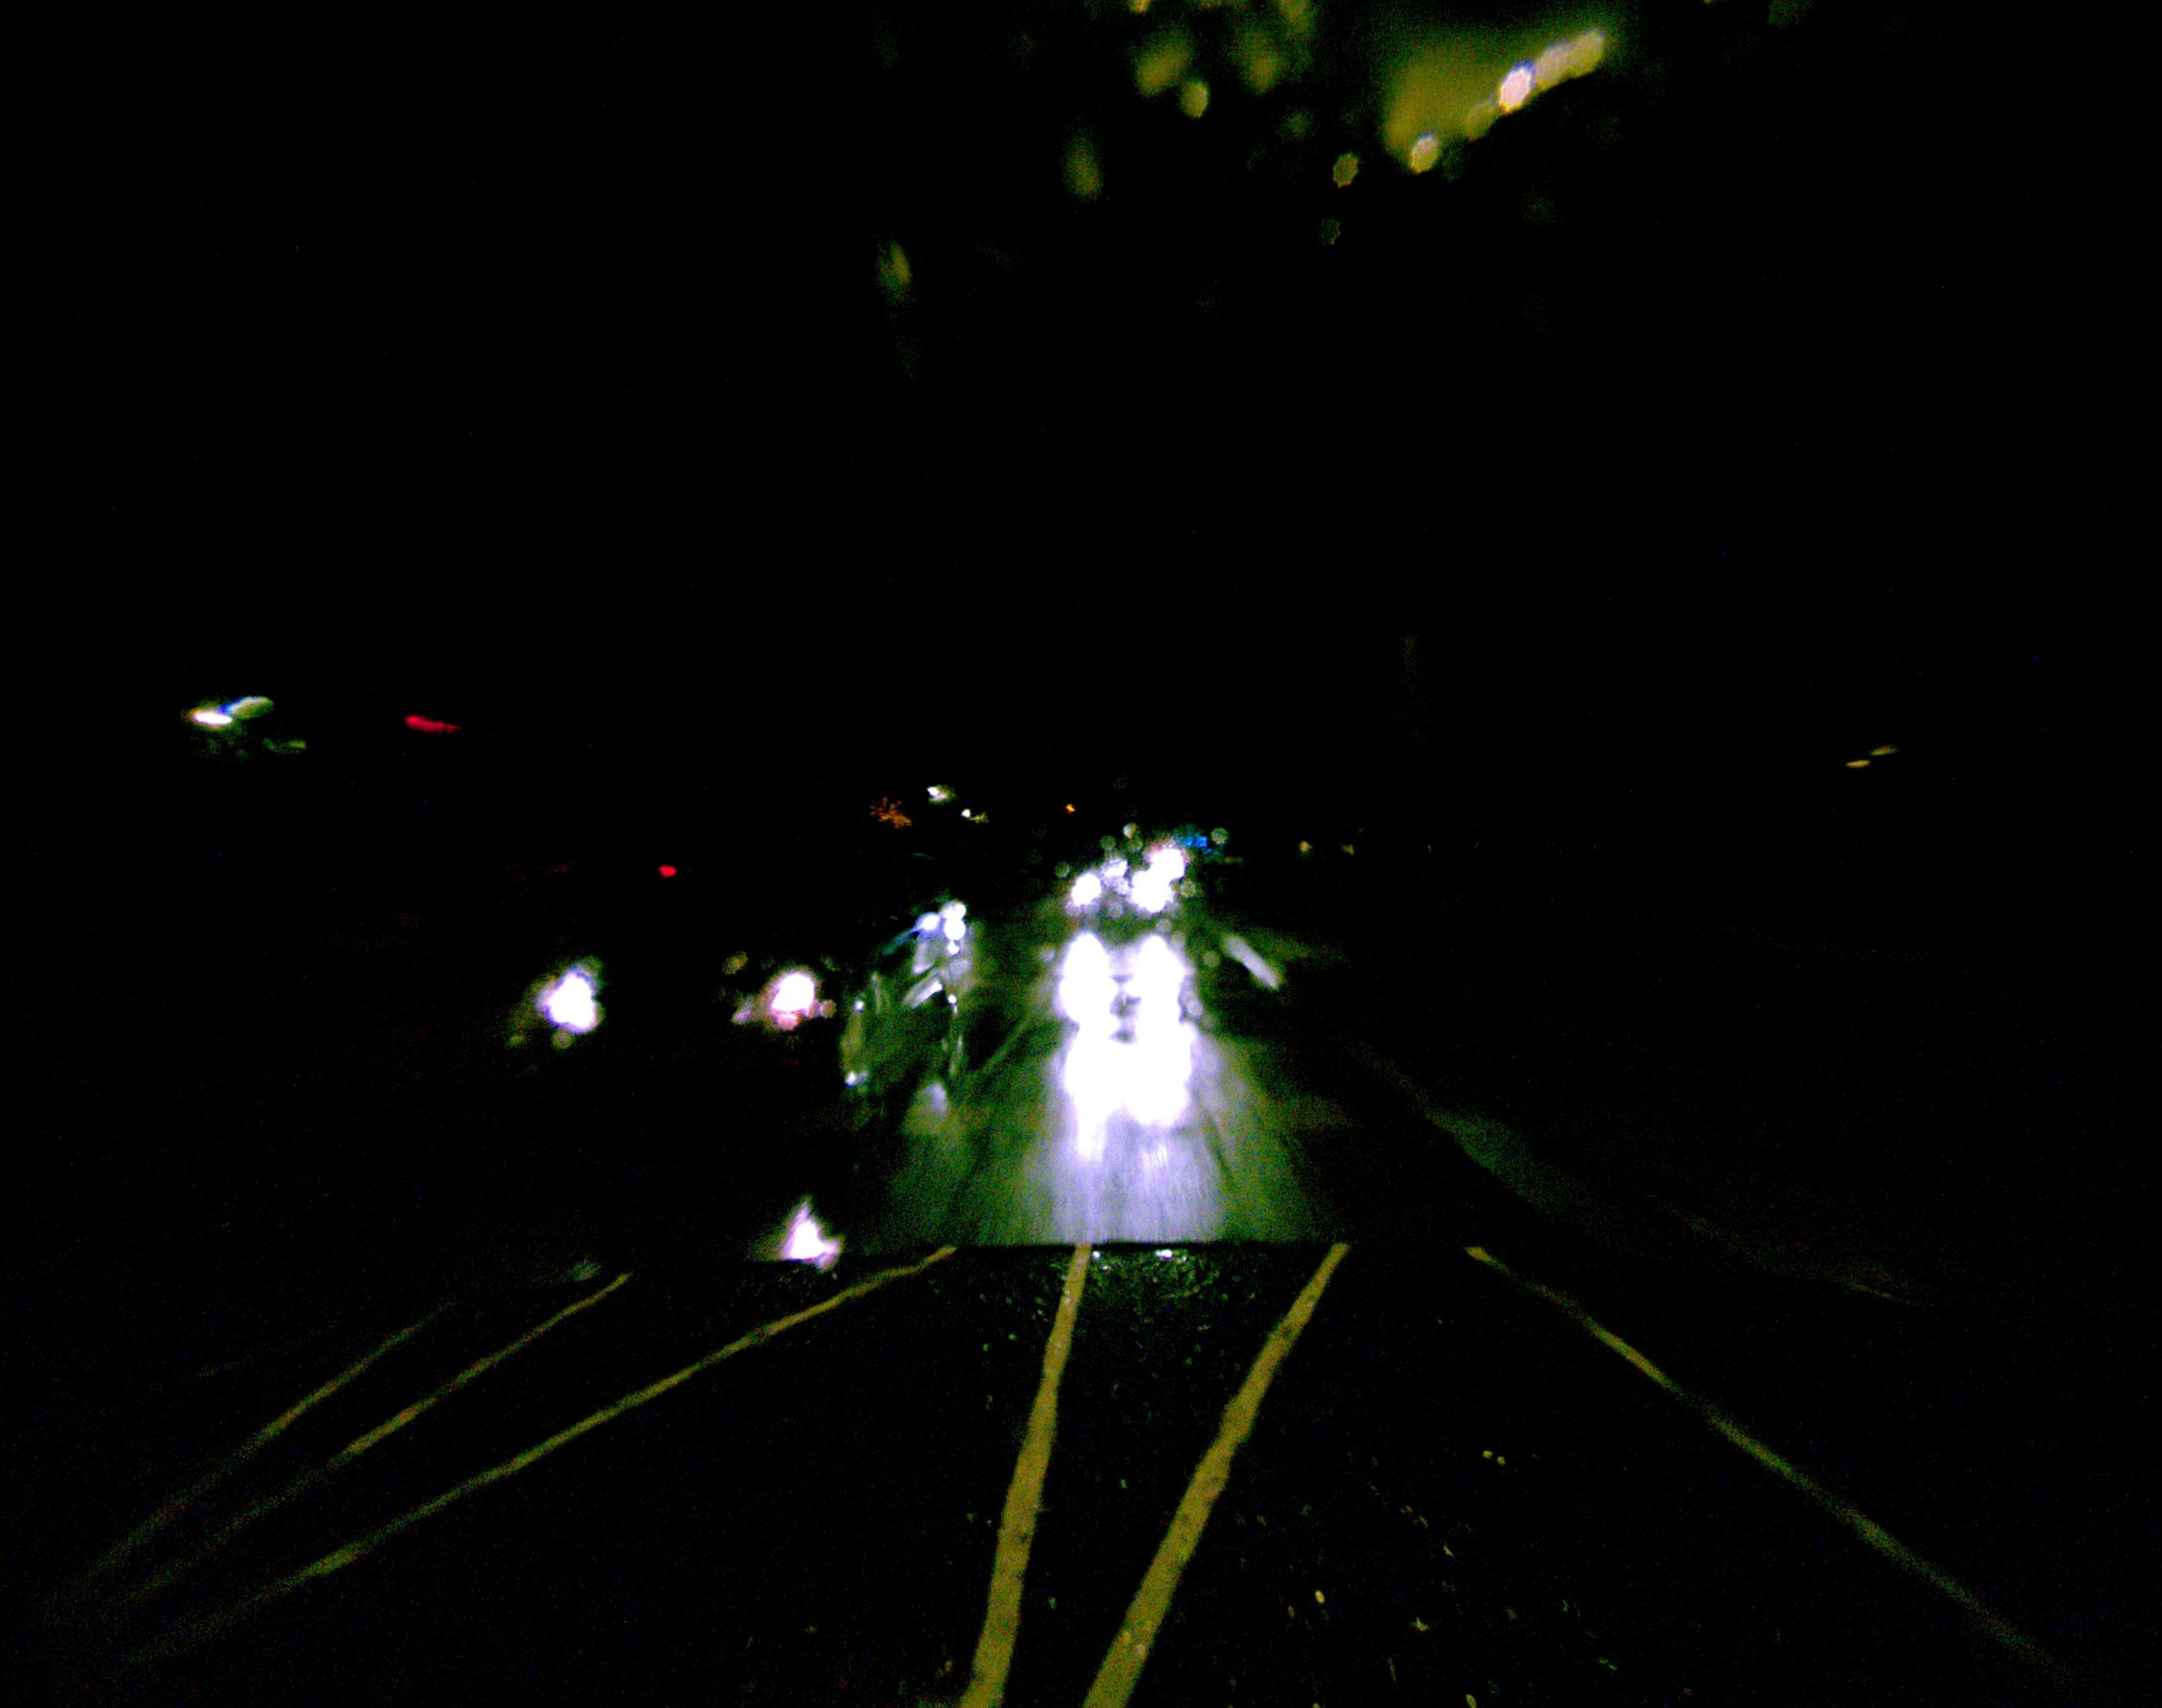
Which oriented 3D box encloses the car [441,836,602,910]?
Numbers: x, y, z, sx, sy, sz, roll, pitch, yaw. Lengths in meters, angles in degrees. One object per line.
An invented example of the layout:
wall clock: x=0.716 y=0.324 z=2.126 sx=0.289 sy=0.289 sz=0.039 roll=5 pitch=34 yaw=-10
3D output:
car: x=-12.692 y=0.423 z=17.145 sx=4.329 sy=1.451 sz=1.855 roll=-2 pitch=1 yaw=39

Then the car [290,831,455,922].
car: x=-14.082 y=0.423 z=15.043 sx=3.877 sy=1.565 sz=1.837 roll=-2 pitch=1 yaw=39

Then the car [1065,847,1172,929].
car: x=1.006 y=0.681 z=17.532 sx=1.825 sy=1.573 sz=4.357 roll=-2 pitch=0 yaw=11

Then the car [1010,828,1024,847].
car: x=-9.937 y=-2.491 z=117.711 sx=1.936 sy=2.758 sz=4.252 roll=-2 pitch=1 yaw=-6

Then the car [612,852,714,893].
car: x=-16.953 y=0.760 z=30.783 sx=3.937 sy=1.478 sz=1.767 roll=-2 pitch=1 yaw=29

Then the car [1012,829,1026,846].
car: x=-9.171 y=-2.411 z=112.145 sx=1.936 sy=2.406 sz=4.252 roll=-2 pitch=0 yaw=-6

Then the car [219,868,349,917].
car: x=-23.620 y=1.143 z=22.501 sx=3.990 sy=1.277 sz=1.663 roll=-2 pitch=1 yaw=29

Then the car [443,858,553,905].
car: x=-20.122 y=0.942 z=26.188 sx=3.989 sy=1.422 sz=1.848 roll=-2 pitch=1 yaw=35

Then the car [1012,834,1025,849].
car: x=-8.764 y=-1.755 z=106.556 sx=1.734 sy=2.002 sz=3.699 roll=-2 pitch=0 yaw=-6

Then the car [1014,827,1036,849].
car: x=-5.546 y=-1.534 z=74.920 sx=1.999 sy=2.002 sz=3.998 roll=-2 pitch=0 yaw=-6

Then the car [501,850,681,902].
car: x=-16.093 y=0.663 z=25.273 sx=1.722 sy=1.474 sz=4.715 roll=-2 pitch=0 yaw=29

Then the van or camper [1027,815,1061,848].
van or camper: x=-3.370 y=-1.955 z=68.138 sx=2.415 sy=2.777 sz=5.768 roll=-2 pitch=0 yaw=-8

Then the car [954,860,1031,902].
car: x=-3.271 y=0.963 z=28.828 sx=1.788 sy=1.433 sz=4.241 roll=-1 pitch=0 yaw=9

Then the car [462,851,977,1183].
car: x=-2.299 y=0.885 z=6.574 sx=1.839 sy=1.725 sz=4.942 roll=-2 pitch=0 yaw=3
